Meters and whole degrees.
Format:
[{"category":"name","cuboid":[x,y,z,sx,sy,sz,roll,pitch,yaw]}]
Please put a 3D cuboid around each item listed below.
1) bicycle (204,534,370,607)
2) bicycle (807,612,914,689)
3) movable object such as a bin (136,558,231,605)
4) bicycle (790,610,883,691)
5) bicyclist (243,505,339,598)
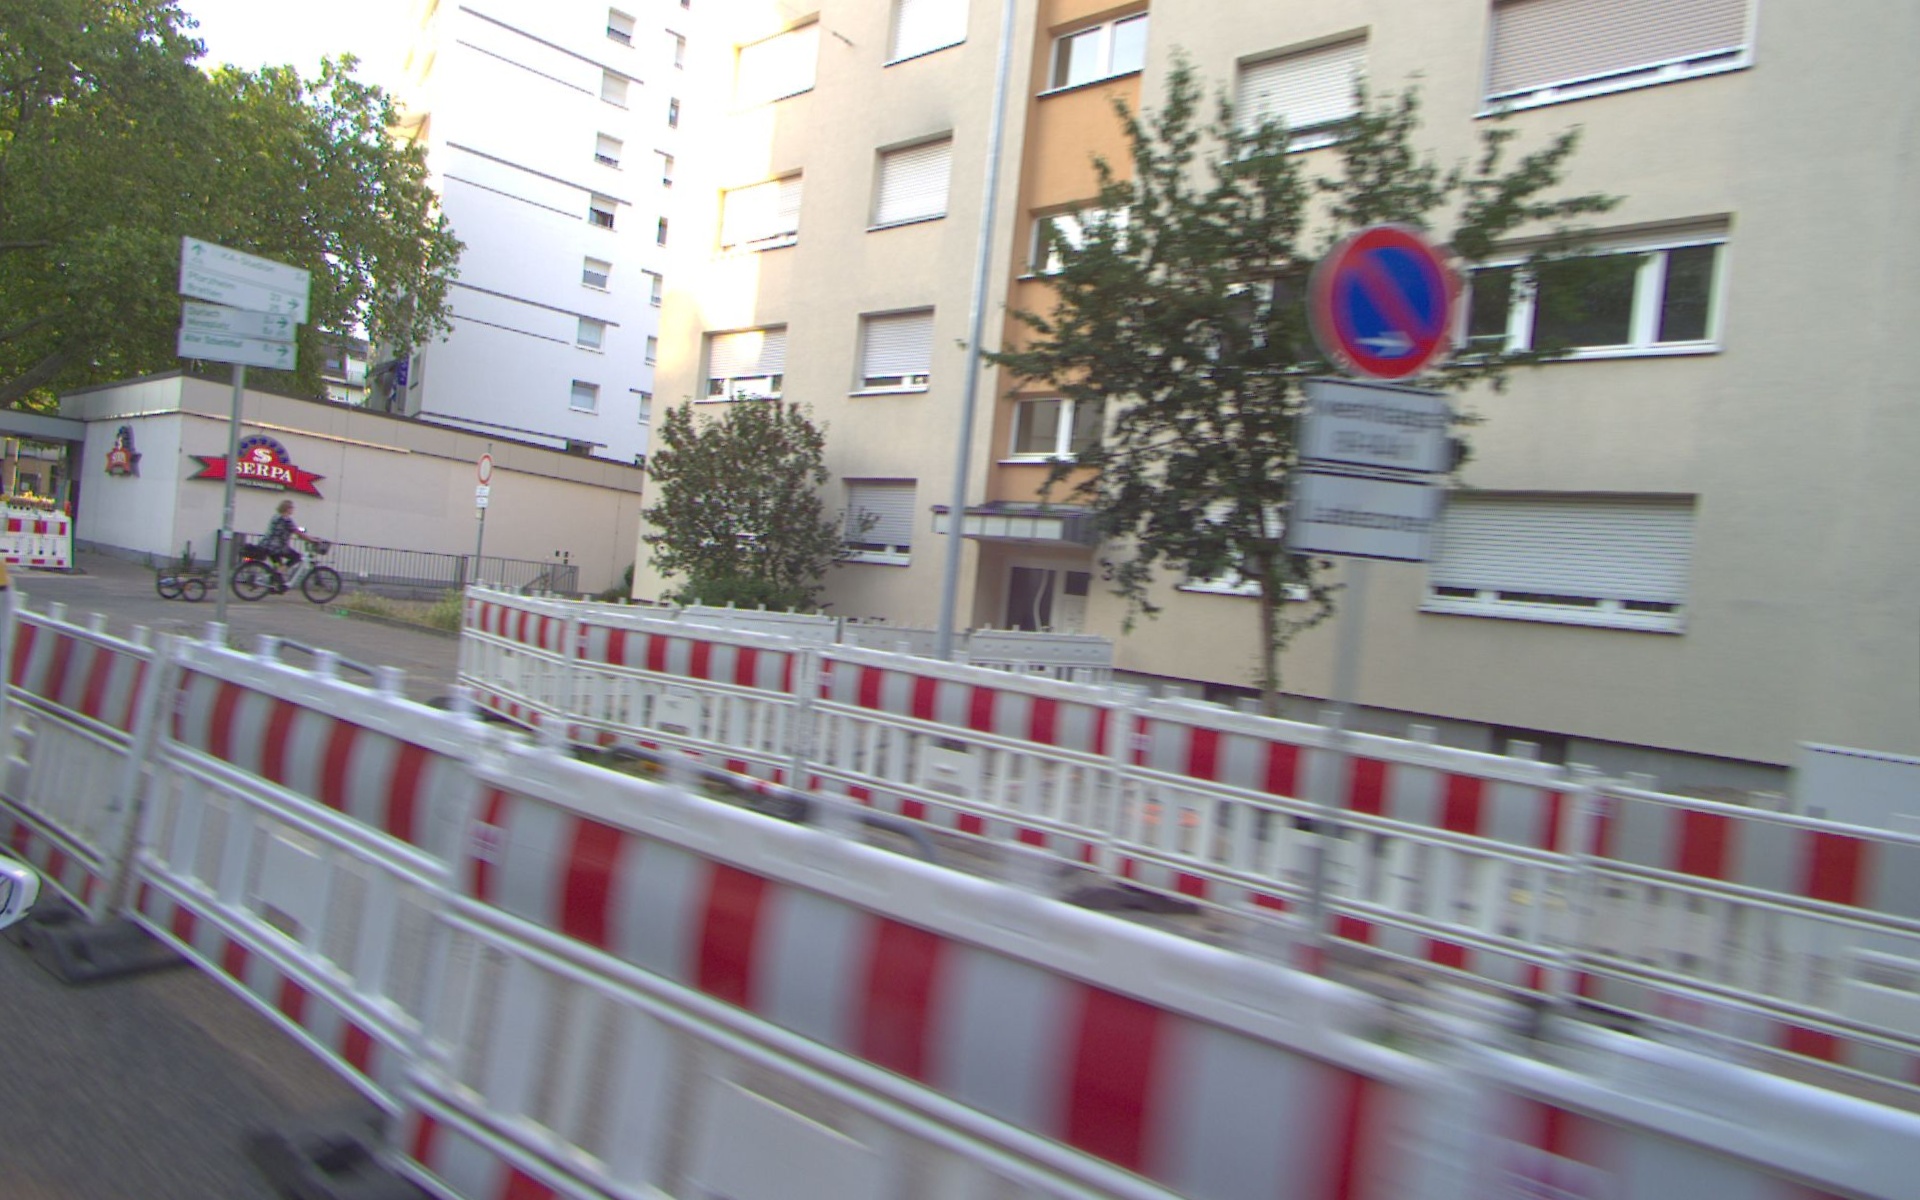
[{"category":"bicycle","cuboid":[-12.348,-0.521,18.555,0.926,1.188,2.351,6,2,30]},{"category":"bicycle","cuboid":[-1.564,0.774,15.654,1.672,0.980,0.543,7,1,38]},{"category":"movable object such as a bin","cuboid":[-13.220,-0.307,17.135,0.926,0.698,0.990,6,3,30]},{"category":"bicycle","cuboid":[-1.850,0.714,14.814,0.540,0.980,1.798,6,1,-33]},{"category":"bicyclist","cuboid":[-12.319,-0.881,18.534,0.926,1.603,1.142,6,3,30]}]
